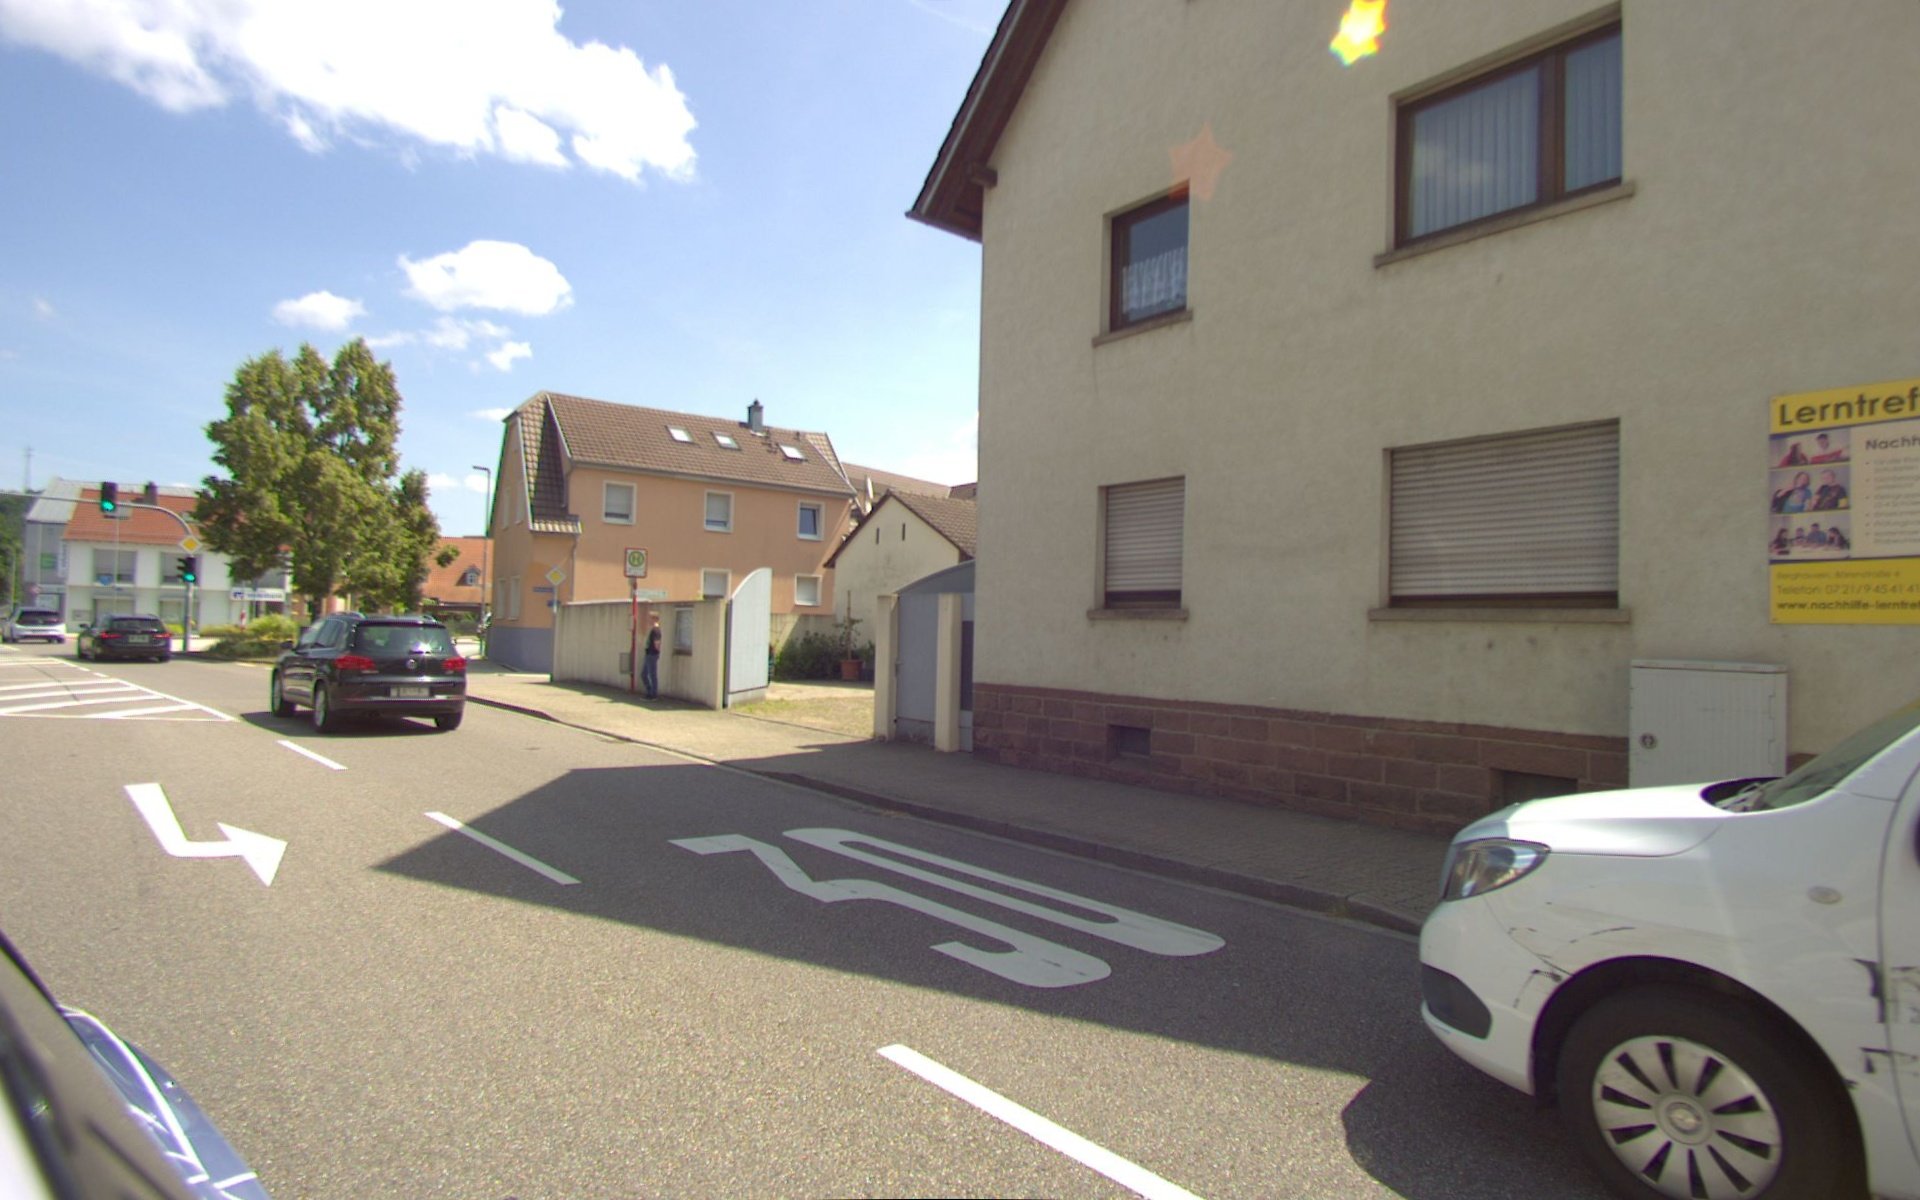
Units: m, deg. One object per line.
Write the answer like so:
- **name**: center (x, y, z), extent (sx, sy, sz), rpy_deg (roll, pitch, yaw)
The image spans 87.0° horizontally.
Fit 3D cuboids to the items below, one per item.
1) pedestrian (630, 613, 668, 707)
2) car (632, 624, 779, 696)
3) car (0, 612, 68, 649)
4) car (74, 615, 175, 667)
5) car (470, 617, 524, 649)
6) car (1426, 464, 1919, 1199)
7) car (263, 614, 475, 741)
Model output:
- **pedestrian**: center (-5.995, 1.139, 19.509), extent (0.476, 1.777, 0.467), rpy_deg (0, -3, 28)
- **car**: center (-6.370, 1.440, 25.124), extent (1.728, 1.623, 4.002), rpy_deg (3, -3, -45)
- **car**: center (-39.937, 1.299, 43.579), extent (4.531, 1.467, 1.761), rpy_deg (-1, -3, 43)
- **car**: center (-25.588, 1.228, 30.940), extent (4.531, 1.467, 1.761), rpy_deg (-1, -3, 43)
- **car**: center (-37.555, 2.626, 82.270), extent (1.973, 2.464, 5.208), rpy_deg (0, 0, 1)
- **car**: center (3.593, 0.656, 1.915), extent (1.761, 1.844, 4.606), rpy_deg (5, -4, -42)
- **car**: center (-8.831, 1.048, 14.978), extent (1.728, 1.623, 4.002), rpy_deg (3, -3, -45)
